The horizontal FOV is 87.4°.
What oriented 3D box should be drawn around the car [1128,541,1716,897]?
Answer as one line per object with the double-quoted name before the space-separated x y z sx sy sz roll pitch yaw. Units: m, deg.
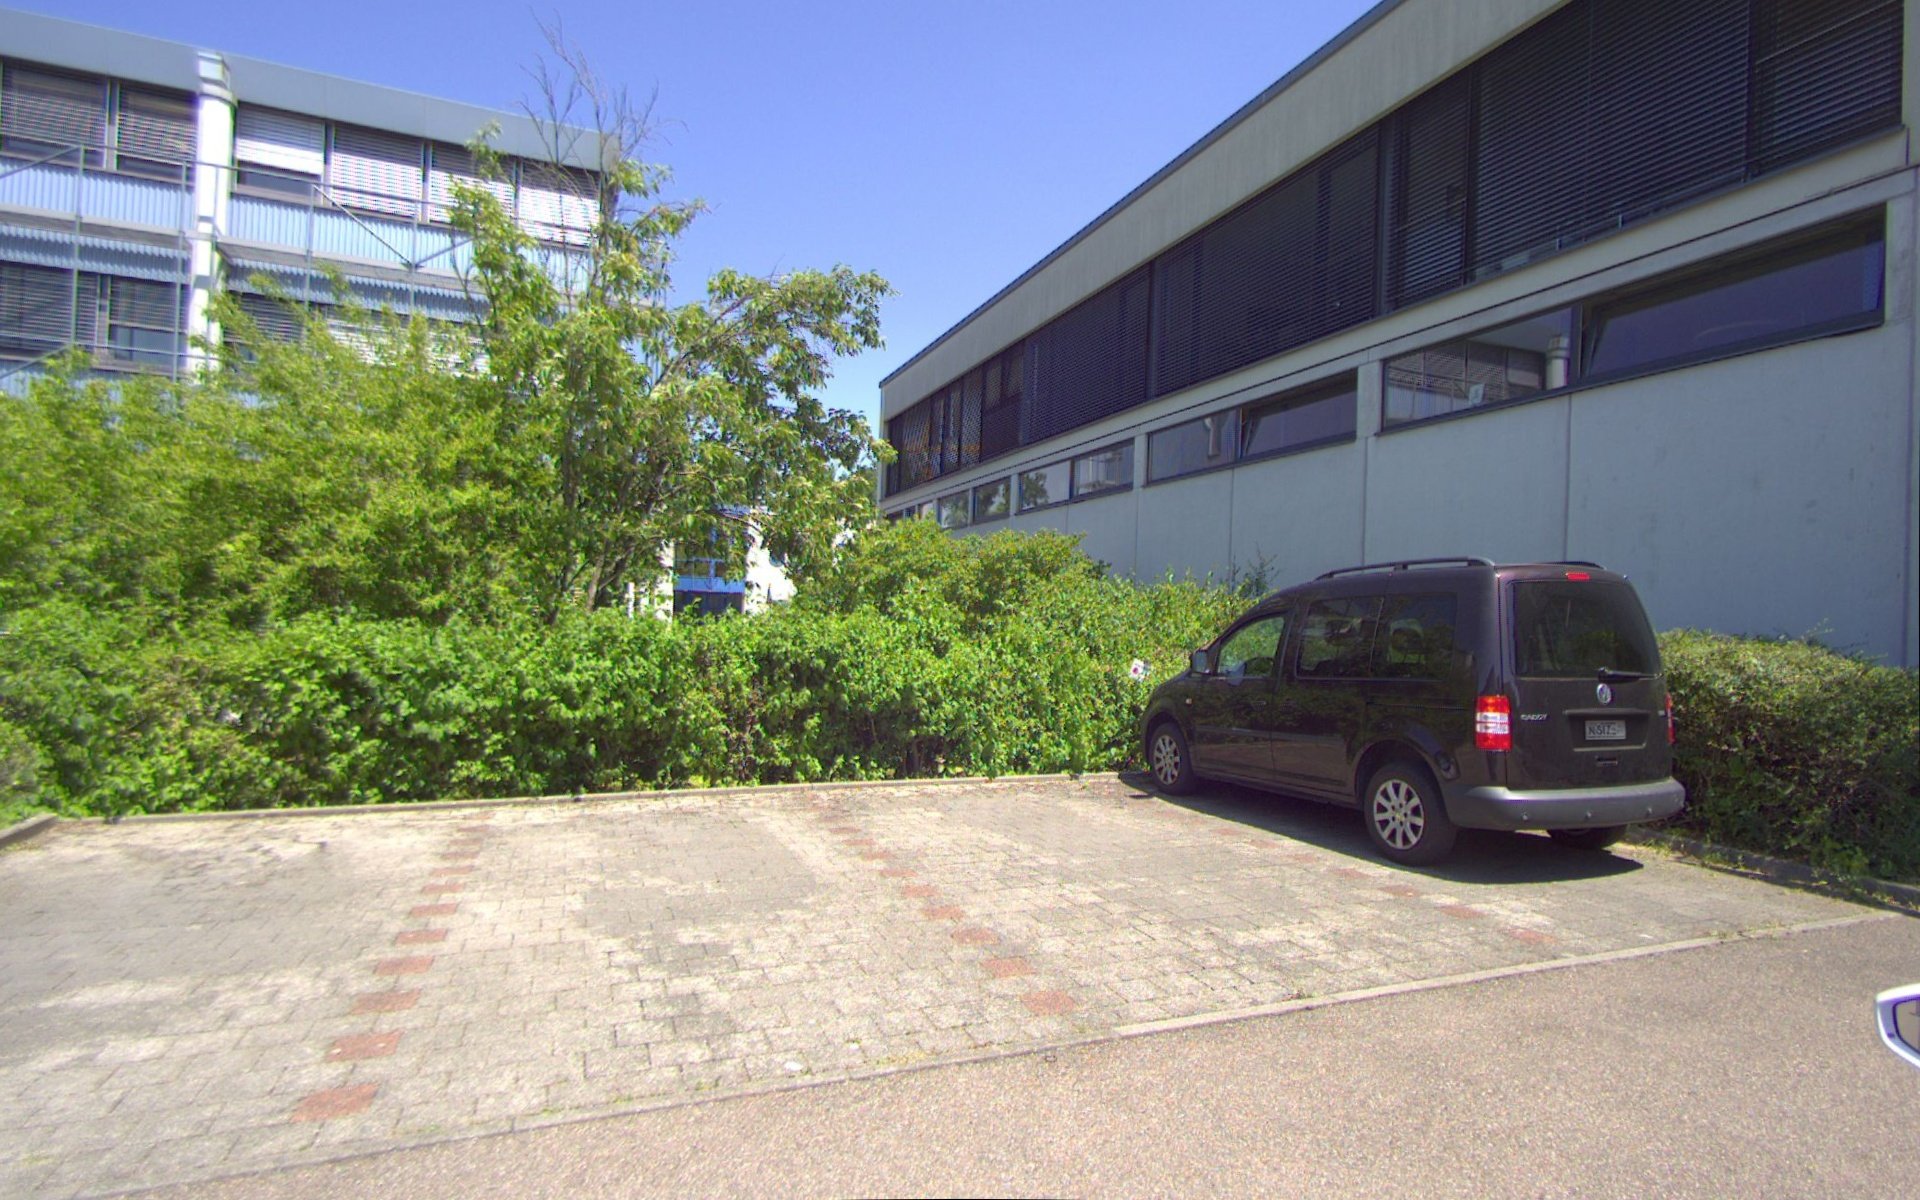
"car" 3.022 0.673 7.591 1.653 1.909 4.052 2 -1 -20
